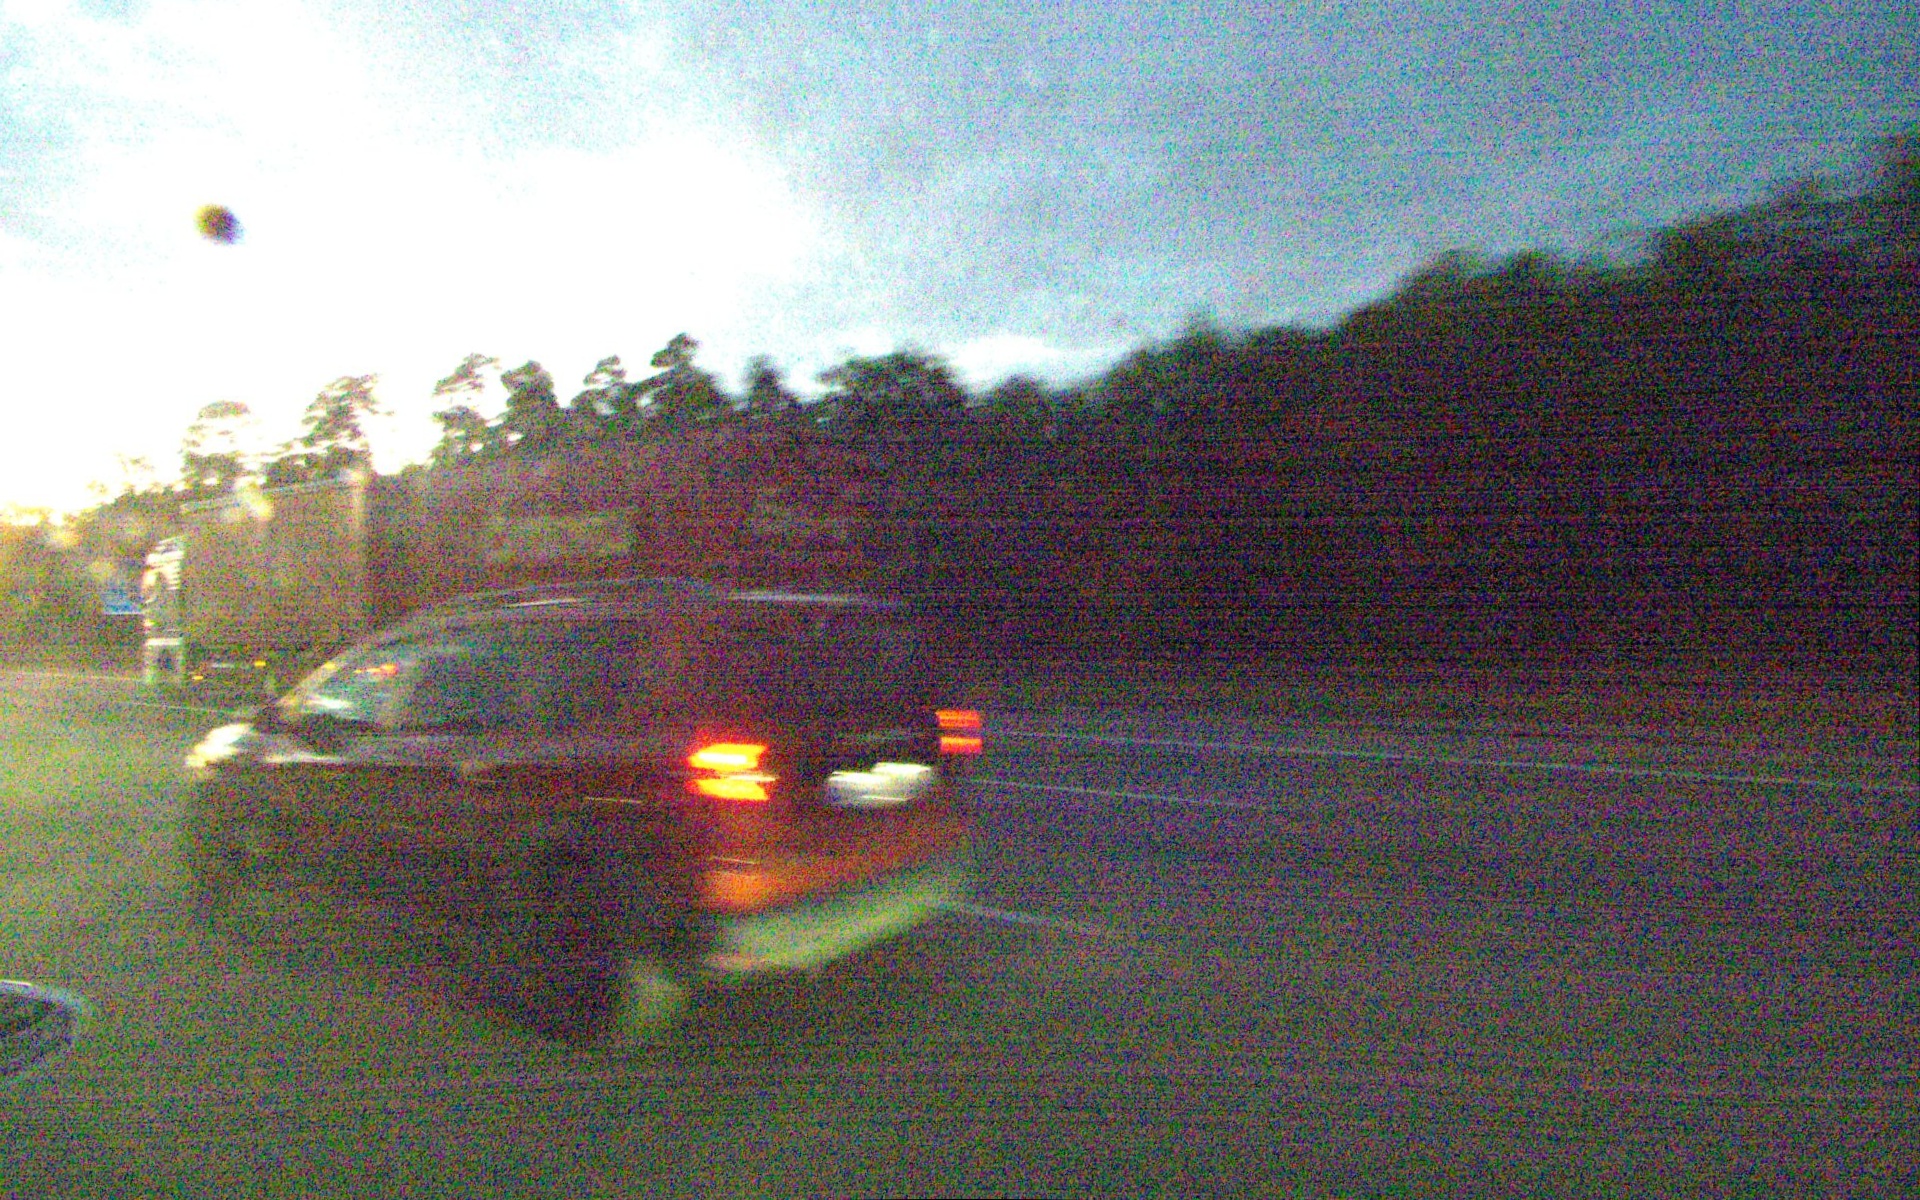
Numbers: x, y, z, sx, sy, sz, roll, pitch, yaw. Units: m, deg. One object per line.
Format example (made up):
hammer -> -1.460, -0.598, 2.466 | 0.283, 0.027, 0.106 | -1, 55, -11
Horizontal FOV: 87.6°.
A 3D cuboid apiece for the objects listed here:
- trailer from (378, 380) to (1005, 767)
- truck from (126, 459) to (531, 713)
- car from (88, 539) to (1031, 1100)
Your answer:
trailer -> -4.451, -0.170, 14.775 | 10.212, 4.153, 2.901 | -1, -1, 33
truck -> -13.305, -0.111, 20.560 | 10.680, 4.153, 2.879 | -1, -1, 33
car -> -2.276, 0.772, 5.126 | 4.980, 1.664, 1.901 | -2, -3, 32
